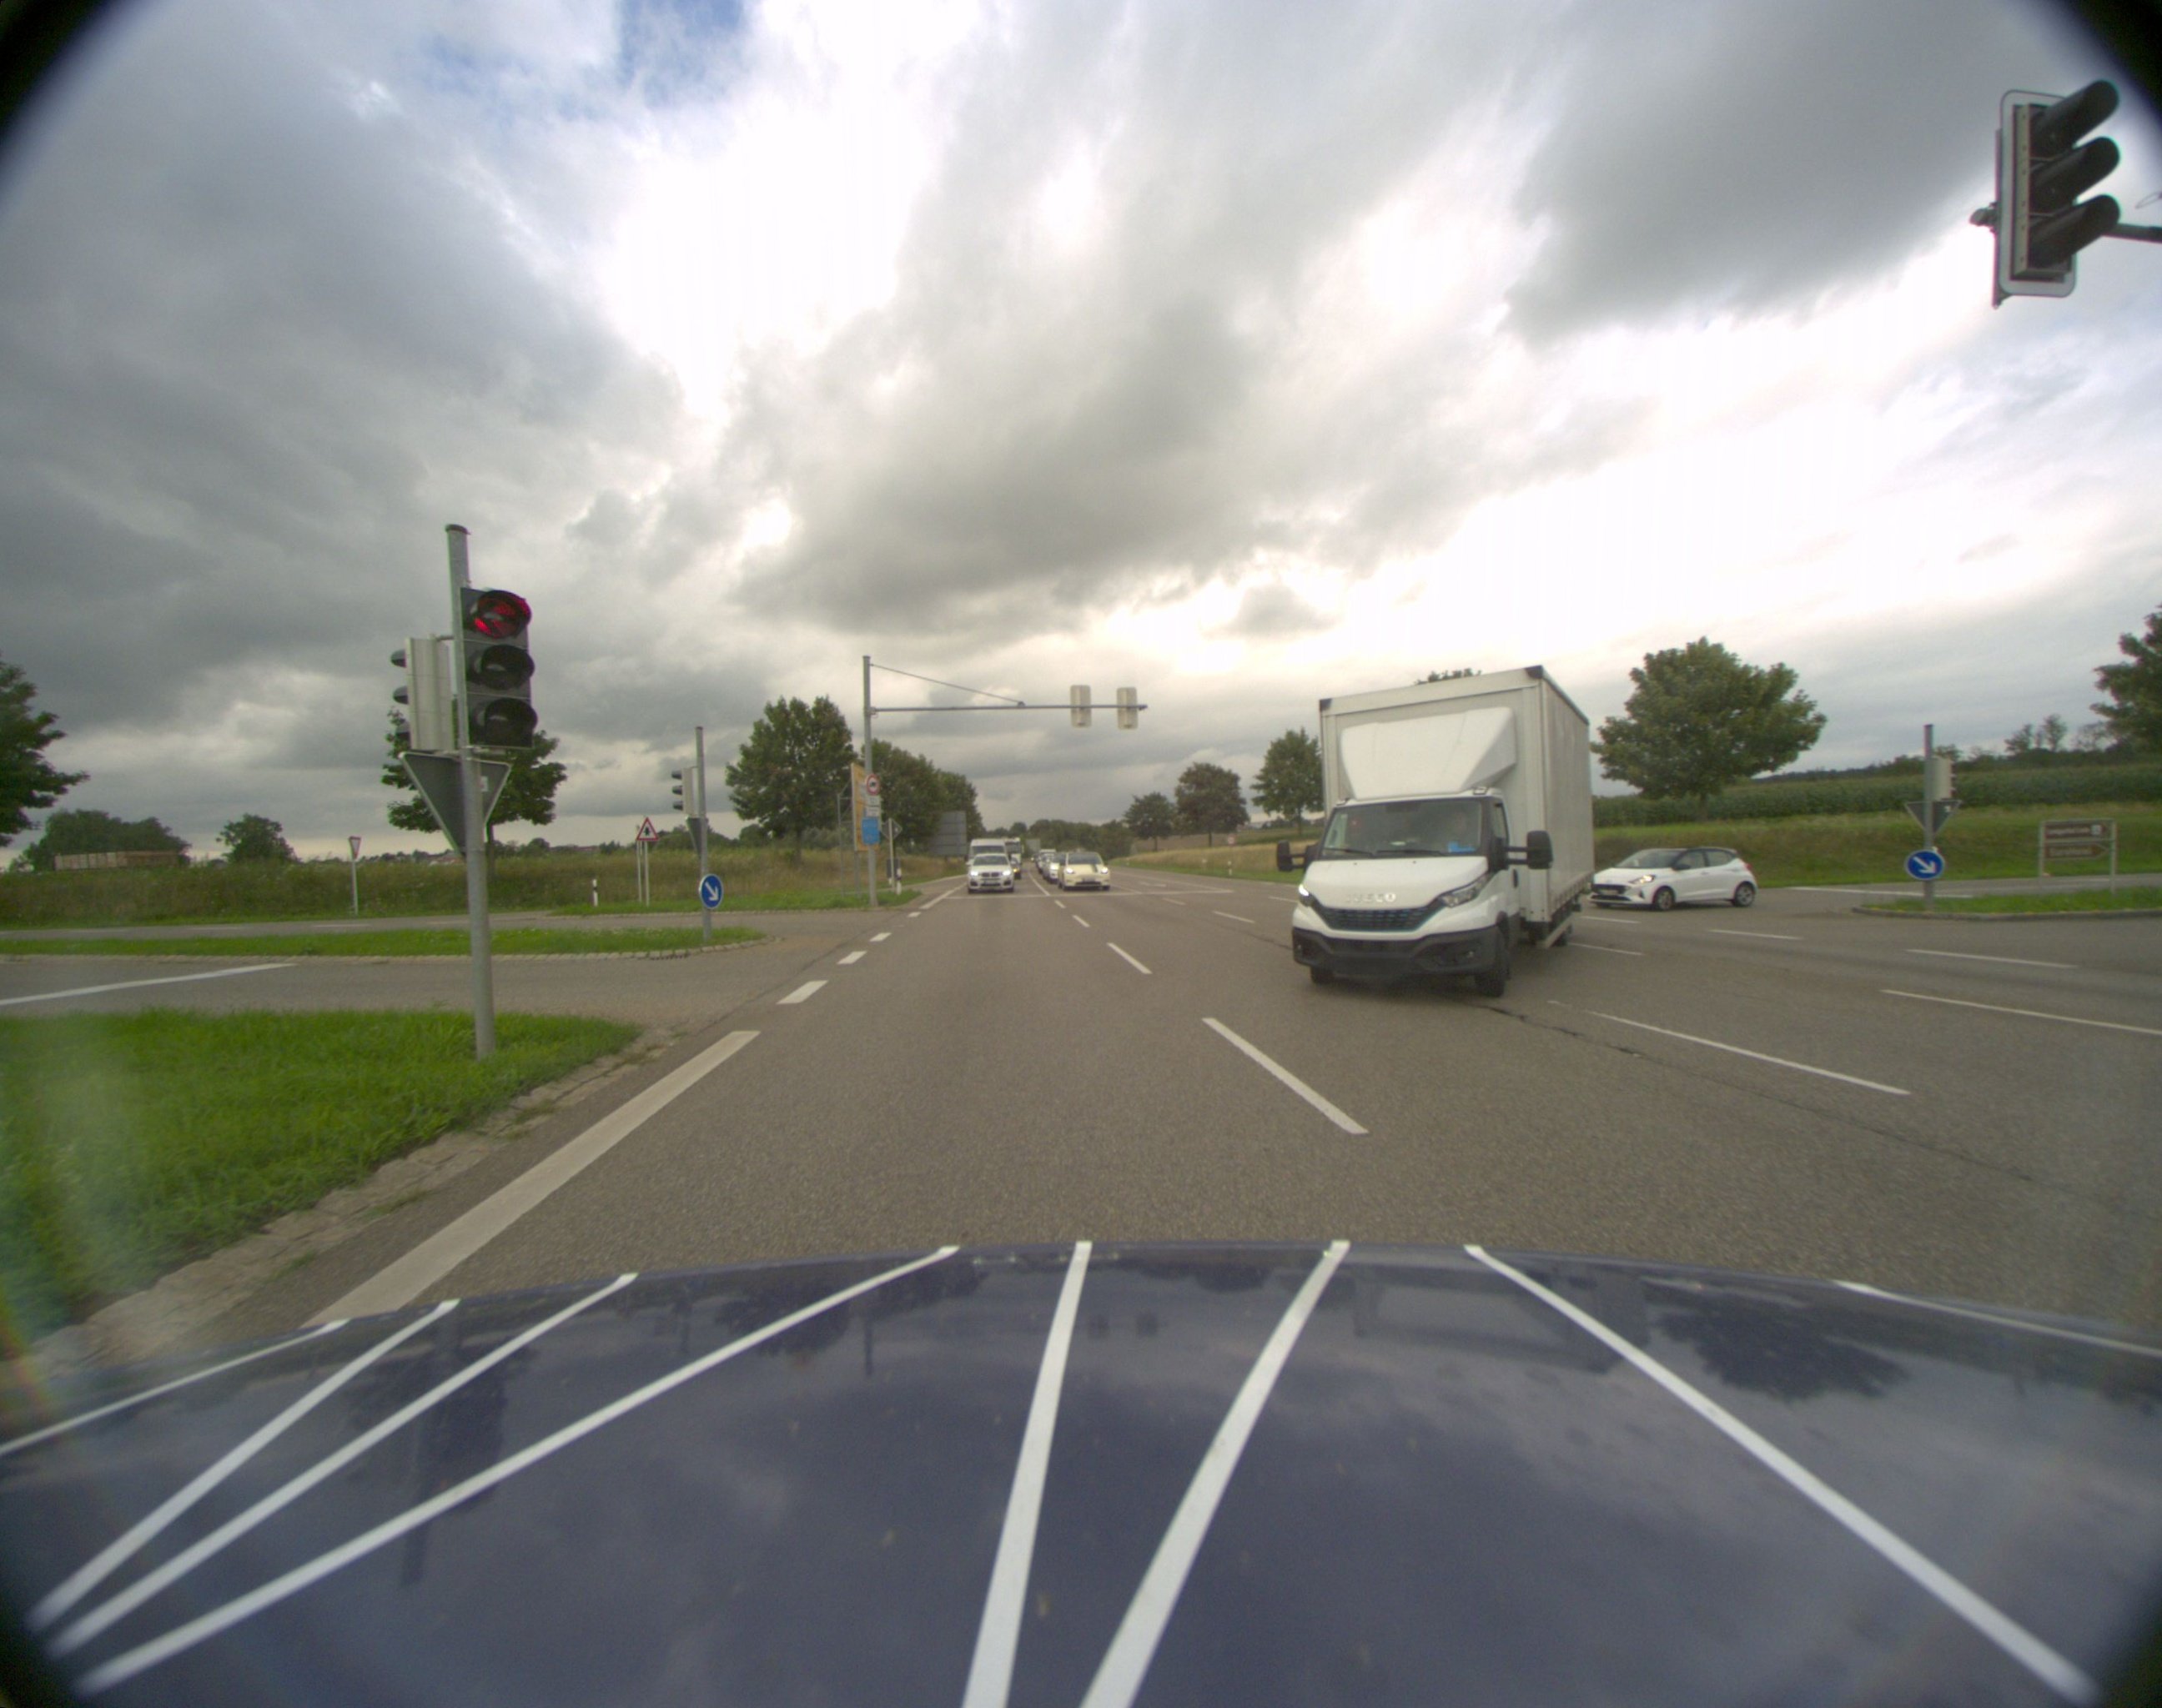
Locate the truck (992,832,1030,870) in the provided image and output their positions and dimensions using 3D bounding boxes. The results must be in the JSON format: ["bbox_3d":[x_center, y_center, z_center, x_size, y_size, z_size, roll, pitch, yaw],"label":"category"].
[{"bbox_3d":[-6.178,-0.244,67.360,3.108,3.091,7.402,-1,0,-5],"label":"truck"}]

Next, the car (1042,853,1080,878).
[{"bbox_3d":[-1.270,0.676,47.209,1.999,1.446,4.578,-1,0,-6],"label":"car"}]

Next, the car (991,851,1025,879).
[{"bbox_3d":[-4.724,0.691,49.374,1.999,1.619,4.272,-3,1,-5],"label":"car"}]

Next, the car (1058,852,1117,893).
[{"bbox_3d":[0.207,0.729,33.155,1.999,1.556,4.745,-3,1,-6],"label":"car"}]

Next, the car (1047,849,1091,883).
[{"bbox_3d":[-0.719,0.599,40.772,1.999,1.620,4.320,-3,1,-5],"label":"car"}]

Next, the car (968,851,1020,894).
[{"bbox_3d":[-3.664,0.723,32.384,1.999,1.619,4.272,-2,1,-6],"label":"car"}]

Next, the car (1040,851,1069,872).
[{"bbox_3d":[-2.197,0.555,61.324,1.999,1.583,4.444,-1,0,-6],"label":"car"}]

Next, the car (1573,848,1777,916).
[{"bbox_3d":[14.562,0.629,18.691,4.001,1.444,1.808,-2,1,-12],"label":"car"}]

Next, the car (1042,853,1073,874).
[{"bbox_3d":[-1.747,0.661,55.157,1.999,1.410,4.445,-1,0,-4],"label":"car"}]

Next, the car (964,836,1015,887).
[{"bbox_3d":[-4.792,0.341,40.624,2.397,2.427,5.510,-3,1,-5],"label":"car"}]

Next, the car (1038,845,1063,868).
[{"bbox_3d":[-2.951,0.229,72.613,2.169,2.002,4.678,-1,0,-4],"label":"car"}]

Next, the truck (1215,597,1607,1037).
[{"bbox_3d":[5.351,-0.373,10.791,2.831,3.742,8.817,0,1,39],"label":"truck"}]
